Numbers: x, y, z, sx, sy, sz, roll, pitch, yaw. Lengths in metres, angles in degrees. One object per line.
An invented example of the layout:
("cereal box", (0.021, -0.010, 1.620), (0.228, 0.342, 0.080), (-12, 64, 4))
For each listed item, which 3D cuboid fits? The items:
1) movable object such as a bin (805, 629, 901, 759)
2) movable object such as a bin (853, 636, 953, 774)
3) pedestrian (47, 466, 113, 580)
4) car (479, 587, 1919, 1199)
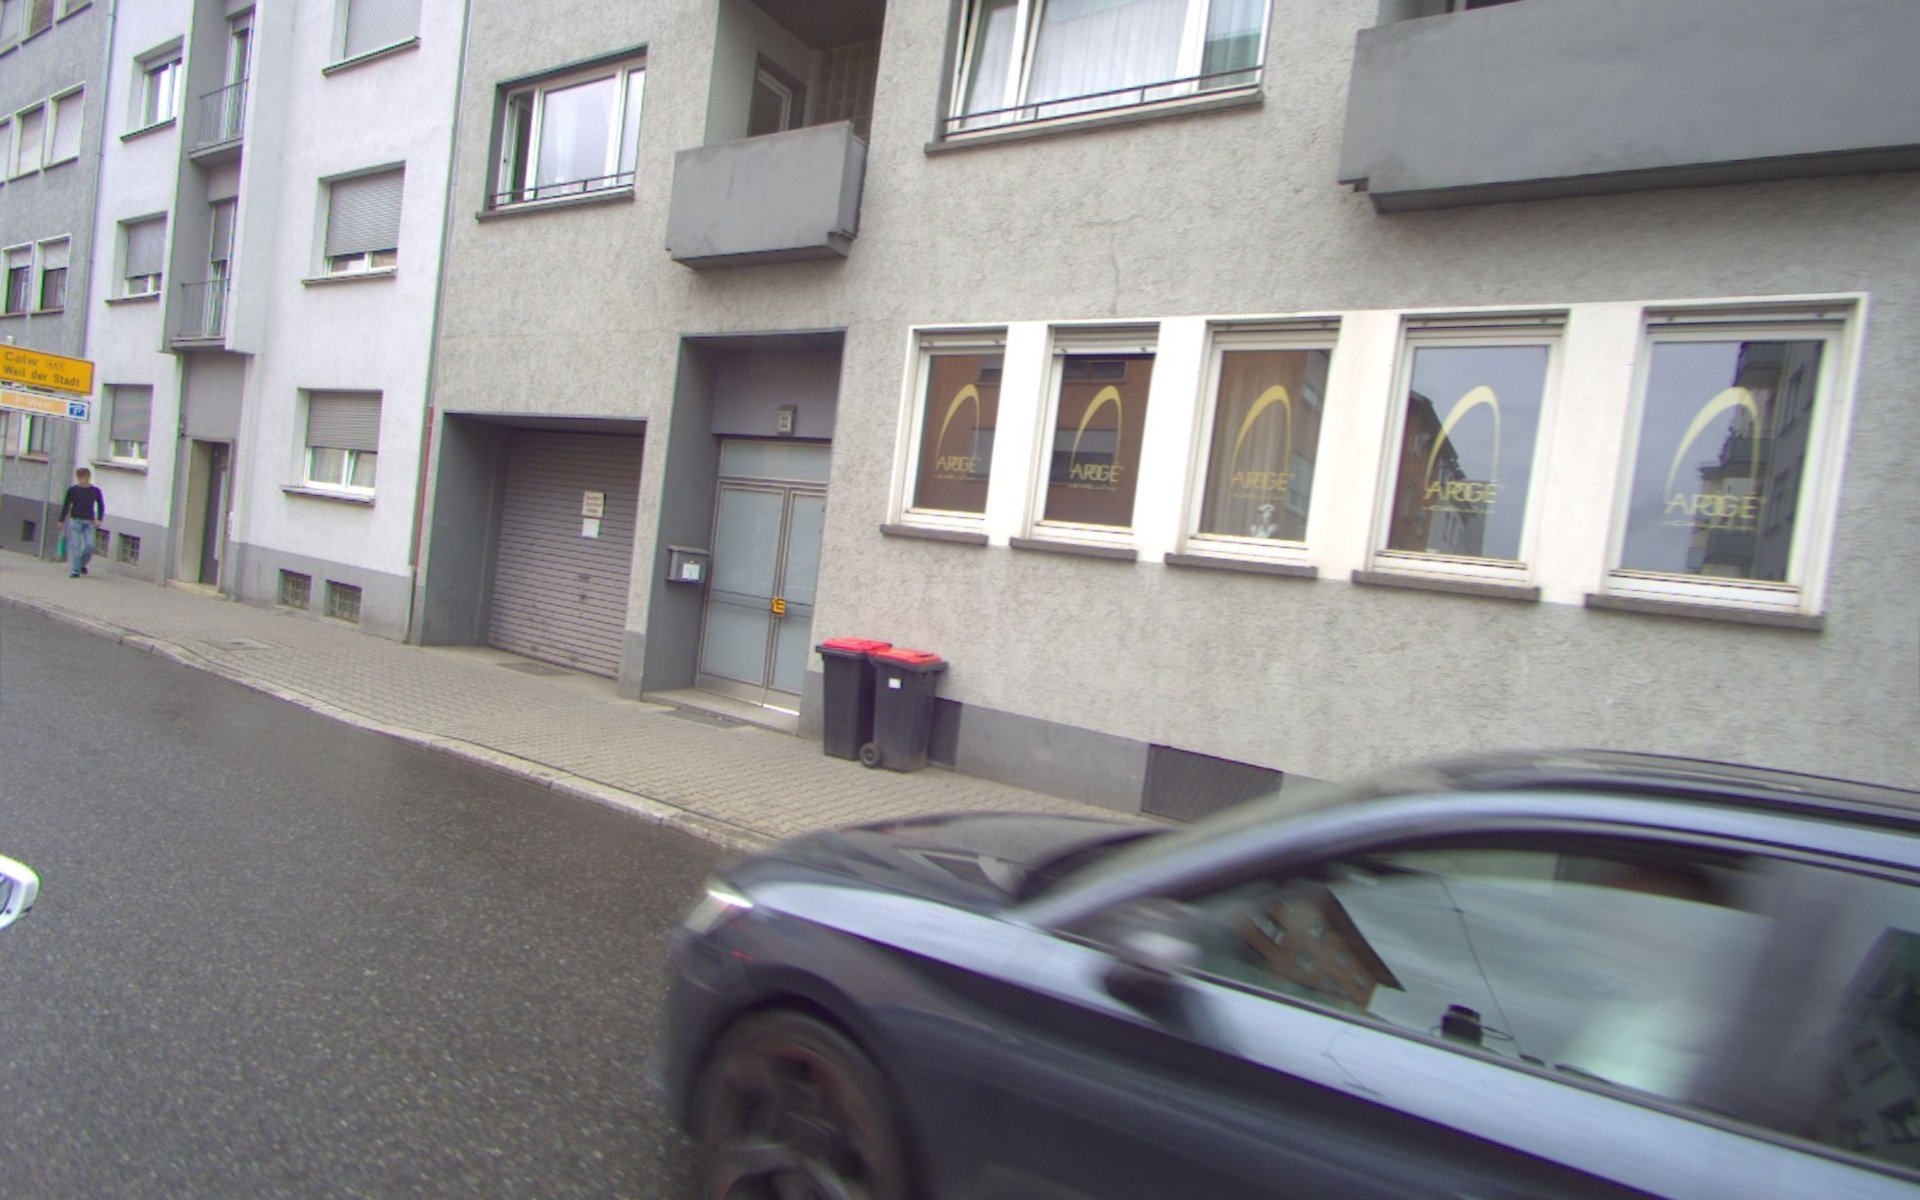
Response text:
("movable object such as a bin", (-0.879, 0.756, 8.306), (0.467, 0.976, 0.562), (8, 5, 35))
("movable object such as a bin", (-0.455, 0.812, 8.000), (0.555, 0.976, 0.472), (8, 5, 34))
("pedestrian", (-14.523, -1.269, 16.597), (0.730, 1.776, 0.654), (8, 4, 37))
("car", (1.249, 0.986, 2.023), (4.506, 1.405, 1.737), (8, 0, 32))
